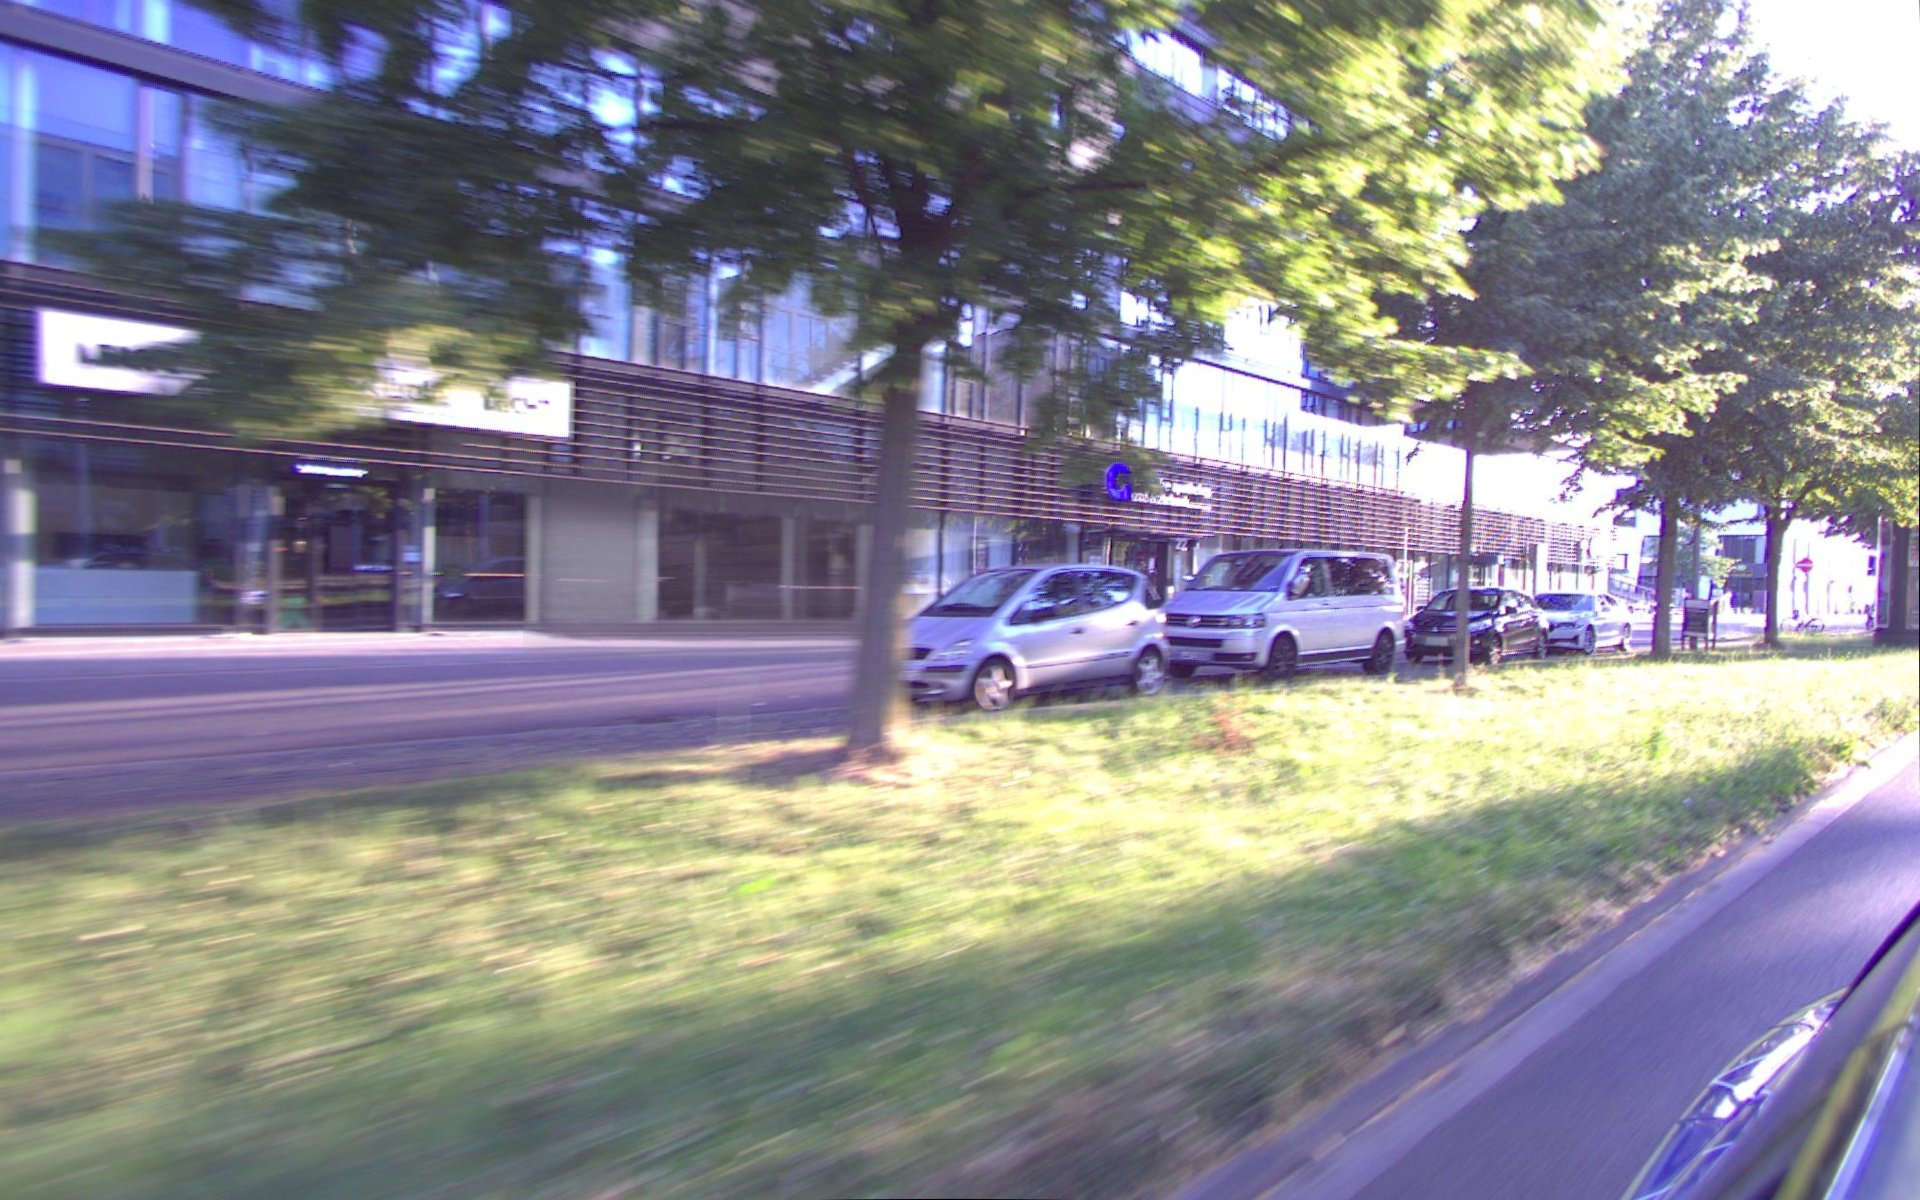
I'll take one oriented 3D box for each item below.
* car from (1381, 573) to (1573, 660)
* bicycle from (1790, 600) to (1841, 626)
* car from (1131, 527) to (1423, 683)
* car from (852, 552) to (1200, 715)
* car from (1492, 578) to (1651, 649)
[{"bbox_3d":[10.178,0.278,19.804,4.214,1.515,1.863,0,0,-40],"label":"car"},{"bbox_3d":[33.624,0.495,39.802,0.355,0.921,1.726,1,1,-8],"label":"bicycle"},{"bbox_3d":[4.936,0.014,15.371,4.846,2.013,1.990,0,2,-41],"label":"car"},{"bbox_3d":[0.886,0.303,11.940,3.991,1.590,1.841,0,1,-42],"label":"car"},{"bbox_3d":[14.628,0.274,24.087,4.955,1.515,1.920,0,1,-43],"label":"car"}]
